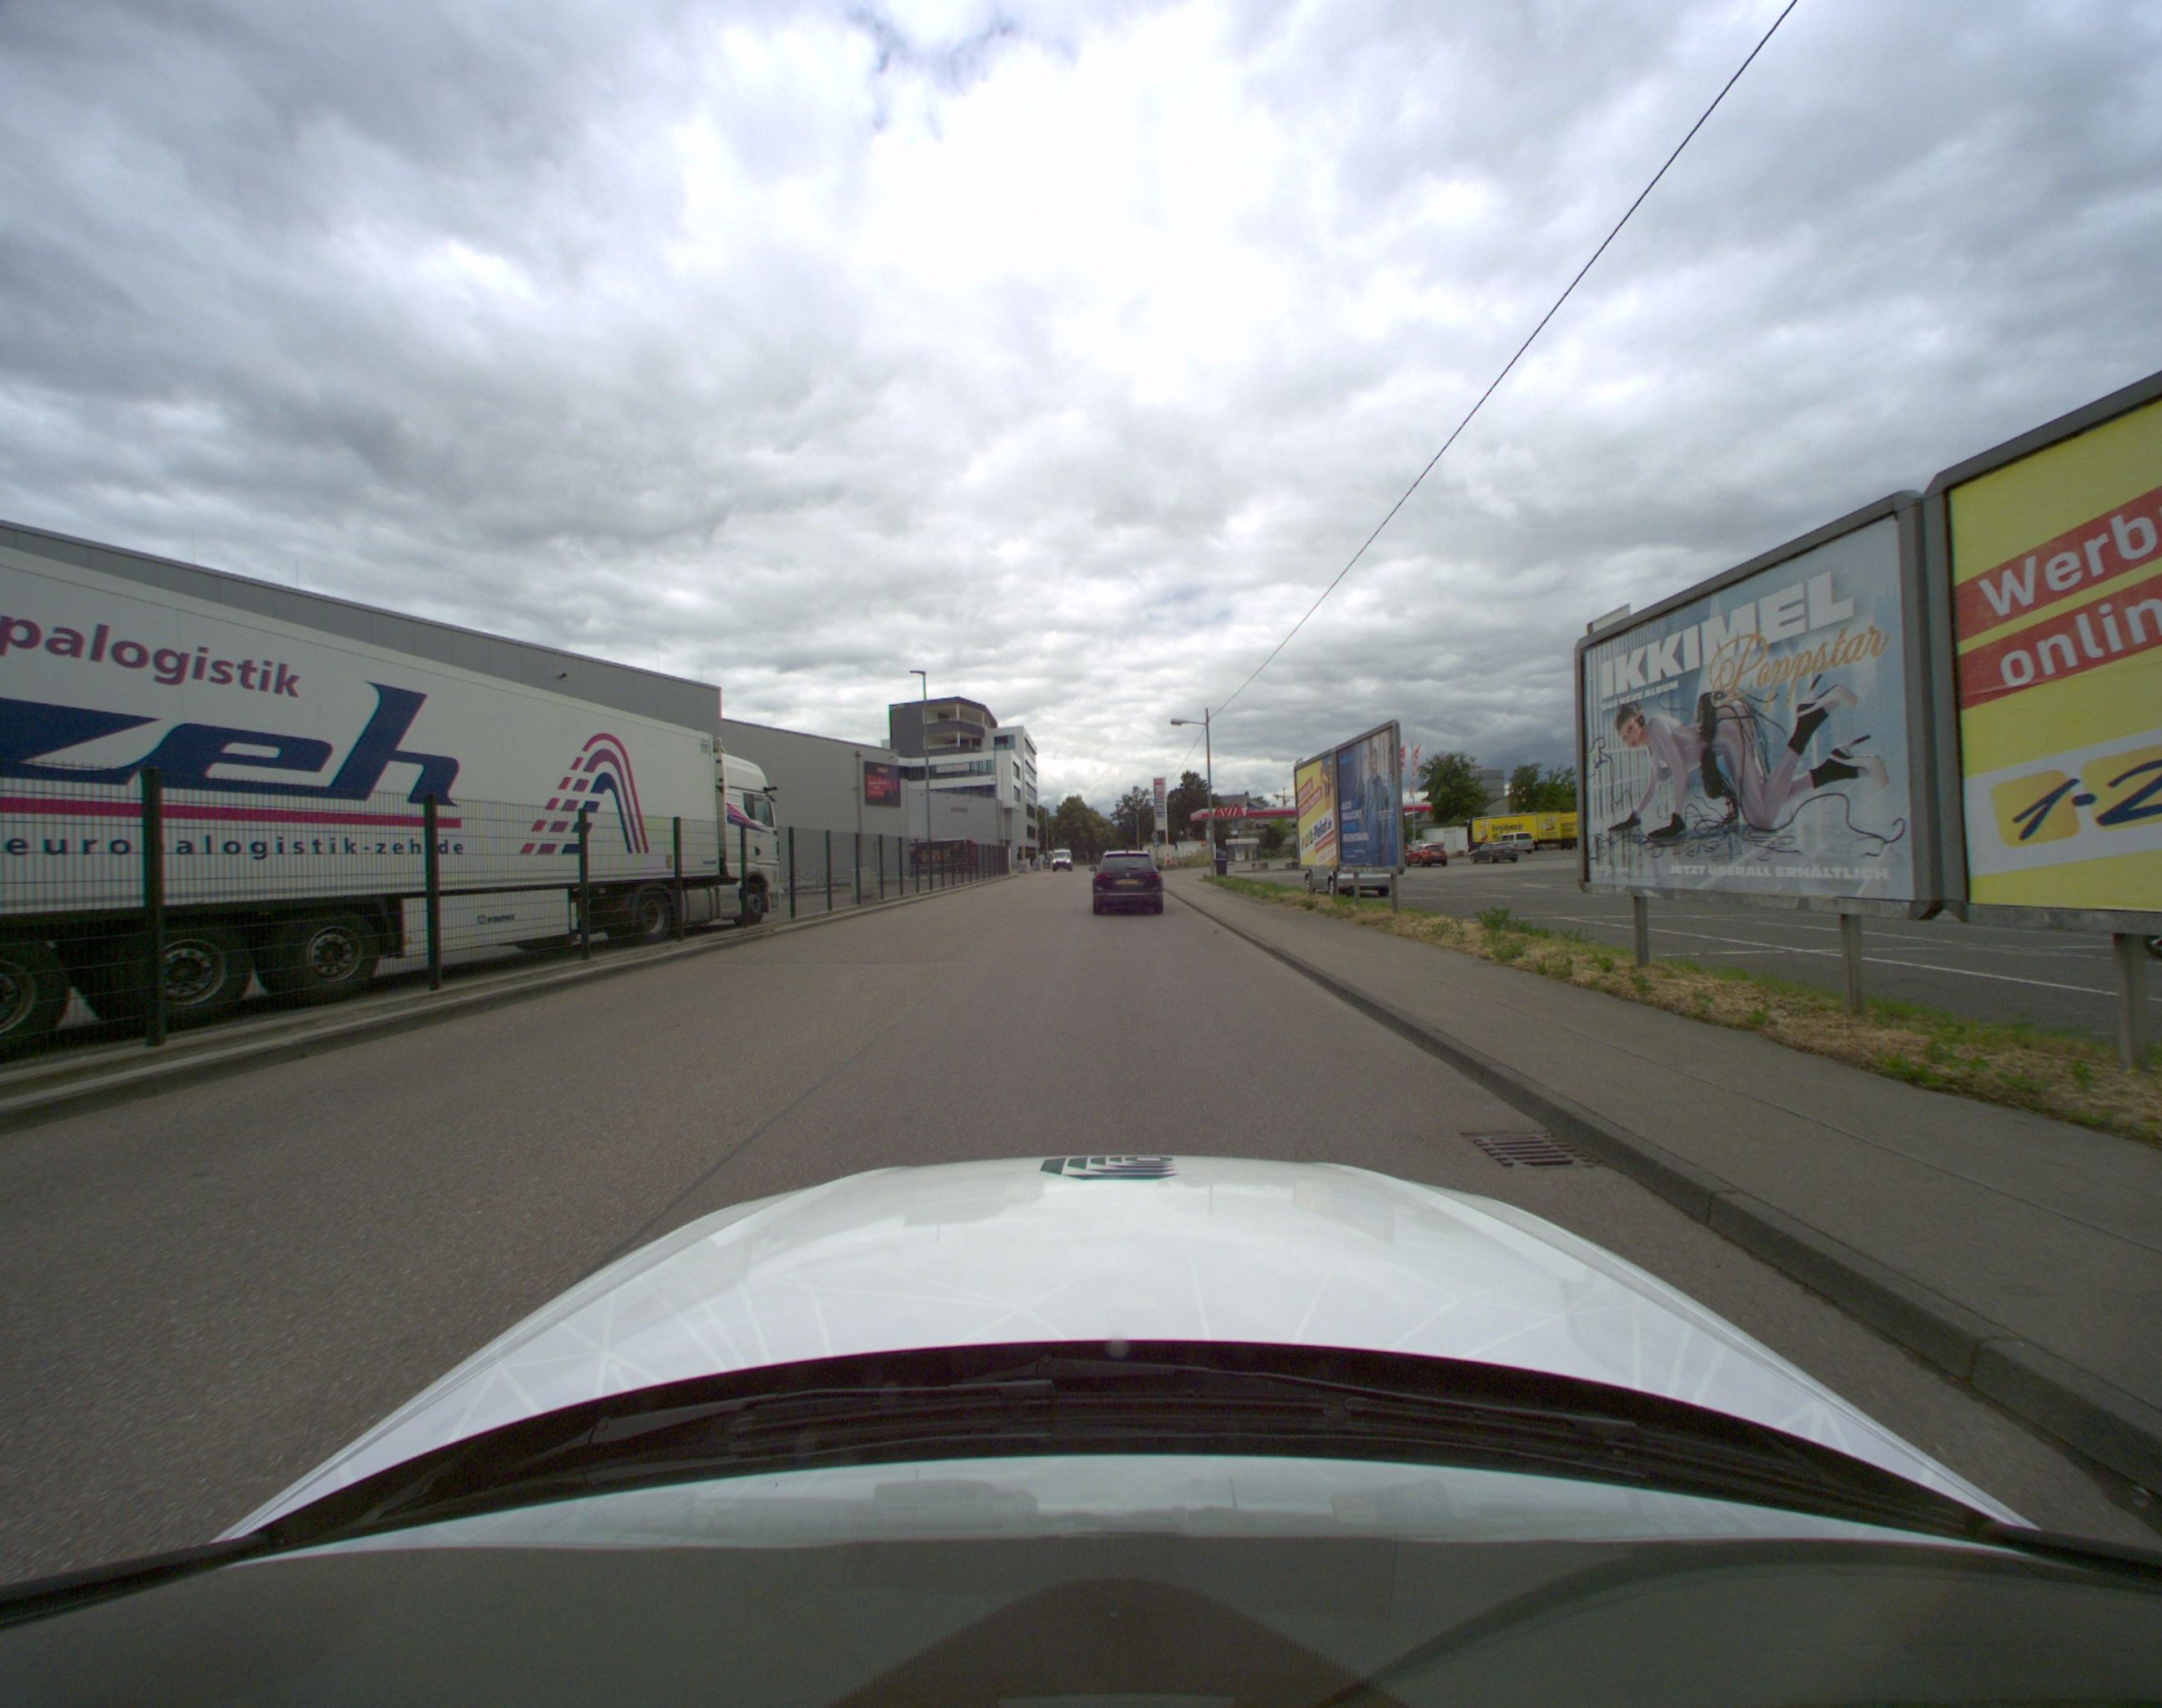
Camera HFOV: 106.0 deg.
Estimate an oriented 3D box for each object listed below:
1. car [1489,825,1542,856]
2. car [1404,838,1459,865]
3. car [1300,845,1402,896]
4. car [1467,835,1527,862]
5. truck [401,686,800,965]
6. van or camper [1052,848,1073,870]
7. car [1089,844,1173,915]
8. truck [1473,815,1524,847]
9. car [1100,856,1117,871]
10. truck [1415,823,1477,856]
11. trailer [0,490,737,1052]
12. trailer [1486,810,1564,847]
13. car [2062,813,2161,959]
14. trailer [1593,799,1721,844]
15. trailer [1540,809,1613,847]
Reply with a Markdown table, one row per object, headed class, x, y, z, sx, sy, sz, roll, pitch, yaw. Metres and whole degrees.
| class | x | y | z | sx | sy | sz | roll | pitch | yaw |
| --- | --- | --- | --- | --- | --- | --- | --- | --- | --- |
| car | 39.715 | -1.226 | 74.586 | 2.082 | 2.647 | 5.374 | -2 | 0 | 3 |
| car | 24.125 | -0.140 | 56.211 | 1.987 | 1.706 | 3.999 | -2 | 0 | 0 |
| car | 8.332 | 0.492 | 25.576 | 1.882 | 1.445 | 4.431 | 0 | 0 | 2 |
| car | 28.922 | -0.343 | 56.746 | 1.987 | 1.706 | 4.187 | -2 | 0 | 0 |
| truck | -8.834 | -0.428 | 16.347 | 3.114 | 4.116 | 6.950 | -6 | -1 | 5 |
| van or camper | -1.928 | 0.506 | 88.076 | 1.986 | 2.256 | 4.001 | -2 | 0 | 2 |
| car | 1.294 | 0.643 | 22.164 | 1.986 | 1.684 | 4.372 | -2 | -1 | 2 |
| truck | 47.625 | -2.614 | 93.001 | 3.021 | 3.463 | 5.508 | -2 | 1 | 2 |
| car | 3.382 | 1.114 | 101.545 | 1.986 | 1.684 | 4.372 | -2 | 1 | 1 |
| truck | 37.055 | -1.473 | 82.885 | 3.162 | 3.145 | 7.514 | -2 | 1 | 3 |
| trailer | -9.356 | -0.497 | 9.815 | 3.119 | 4.260 | 14.035 | -6 | -1 | 4 |
| trailer | 47.466 | -2.671 | 87.418 | 3.021 | 3.627 | 10.144 | -2 | 1 | 2 |
| car | 12.870 | 0.309 | 7.672 | 1.884 | 1.612 | 4.427 | -2 | -1 | 0 |
| trailer | 59.572 | -3.185 | 85.116 | 2.859 | 4.150 | 14.926 | -2 | 1 | 1 |
| trailer | 51.342 | -2.659 | 84.586 | 3.003 | 3.693 | 7.492 | -2 | 1 | 0 |
